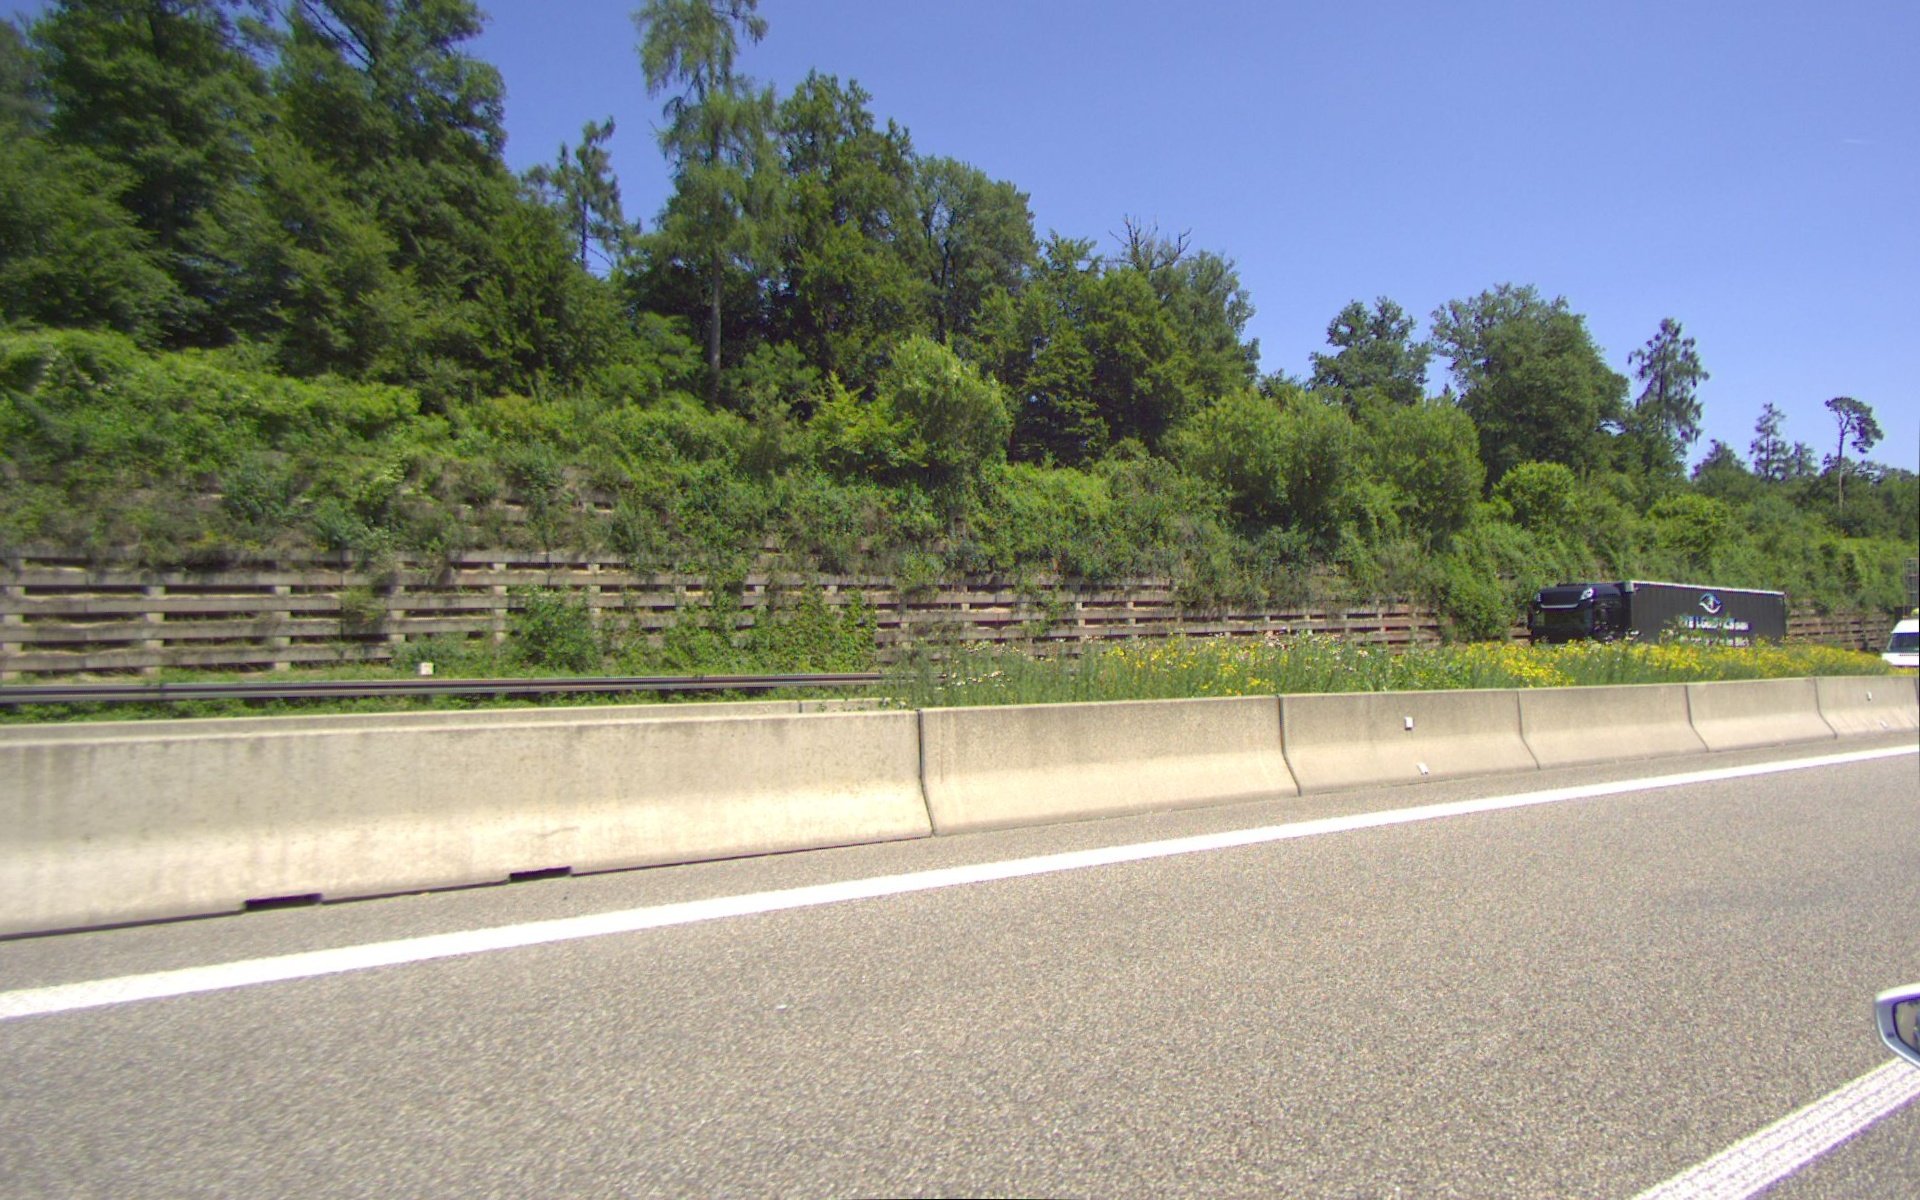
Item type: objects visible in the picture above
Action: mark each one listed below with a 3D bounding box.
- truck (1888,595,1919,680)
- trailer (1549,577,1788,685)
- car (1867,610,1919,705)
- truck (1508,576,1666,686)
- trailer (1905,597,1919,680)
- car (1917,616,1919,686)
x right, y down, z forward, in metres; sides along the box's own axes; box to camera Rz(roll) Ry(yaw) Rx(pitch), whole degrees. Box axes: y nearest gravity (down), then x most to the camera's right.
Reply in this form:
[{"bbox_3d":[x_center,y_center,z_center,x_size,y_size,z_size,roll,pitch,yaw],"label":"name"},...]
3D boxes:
[{"bbox_3d":[50.987,1.963,51.678,6.382,4.257,2.937,2,-3,-30],"label":"truck"},{"bbox_3d":[31.011,1.430,43.590,13.830,4.154,2.965,2,-3,-30],"label":"trailer"},{"bbox_3d":[29.515,1.705,30.181,4.789,2.709,1.989,1,-2,-31],"label":"car"},{"bbox_3d":[25.029,1.294,40.100,5.799,4.112,2.921,2,-3,-30],"label":"truck"},{"bbox_3d":[56.483,2.122,54.826,14.291,4.262,2.965,2,-3,-30],"label":"trailer"},{"bbox_3d":[40.387,1.995,39.369,5.618,2.708,2.741,1,-2,-31],"label":"car"}]
